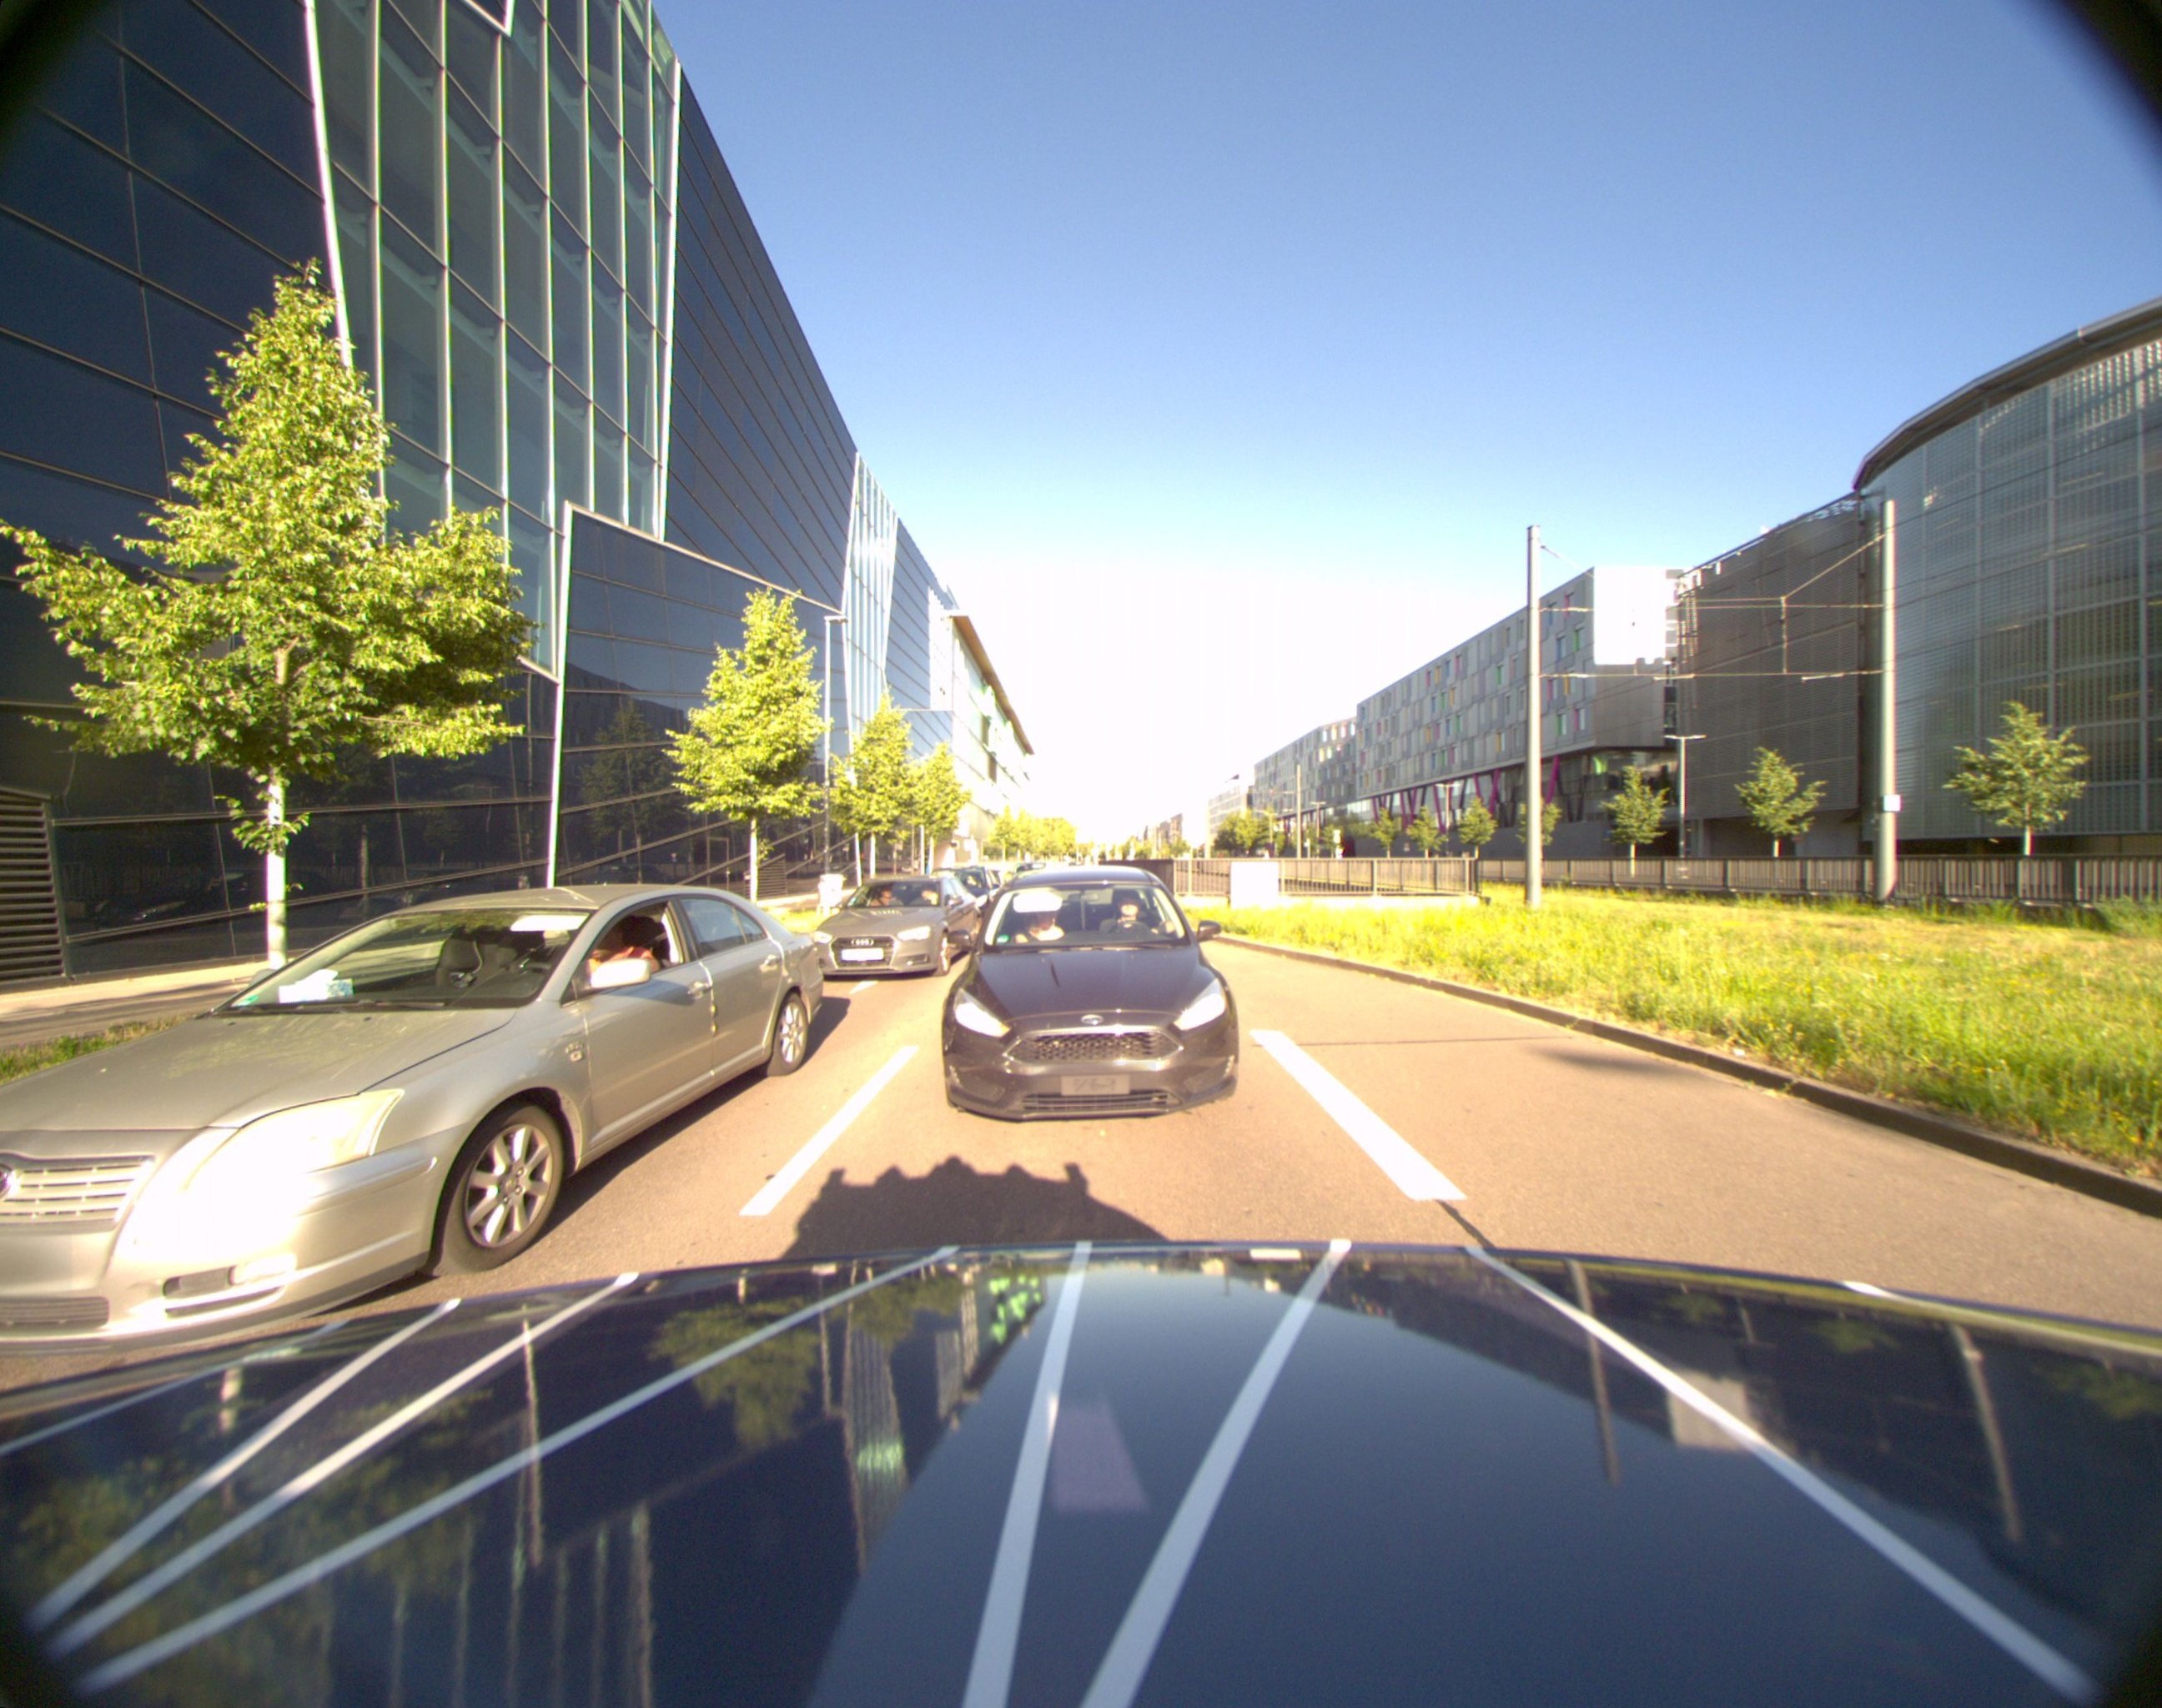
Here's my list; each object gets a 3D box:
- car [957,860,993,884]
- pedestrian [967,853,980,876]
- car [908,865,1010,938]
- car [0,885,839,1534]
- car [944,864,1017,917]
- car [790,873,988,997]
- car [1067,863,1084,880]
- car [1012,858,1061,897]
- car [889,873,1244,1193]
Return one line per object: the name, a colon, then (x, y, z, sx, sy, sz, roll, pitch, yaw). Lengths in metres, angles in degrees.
car: (-7.120, 1.191, 51.438, 1.740, 1.489, 4.715, 1, 0, 0)
pedestrian: (-8.823, 0.863, 62.461, 0.828, 1.814, 0.905, 3, 0, 0)
car: (-2.789, 1.044, 18.267, 1.753, 1.469, 3.972, -2, 0, 0)
car: (-3.043, 1.027, 4.292, 1.750, 1.473, 4.628, -1, 0, 1)
car: (-3.053, 1.076, 23.601, 1.753, 1.469, 3.418, -2, 0, 0)
car: (-2.676, 1.078, 11.659, 1.750, 1.384, 4.264, -2, 0, 2)
car: (-0.653, 2.183, 95.833, 1.998, 2.002, 4.000, -2, 1, 0)
car: (-1.946, 0.991, 34.056, 1.907, 1.612, 4.000, 0, 0, 1)
car: (-0.060, 0.982, 6.202, 1.787, 1.499, 4.590, -2, 0, 0)
